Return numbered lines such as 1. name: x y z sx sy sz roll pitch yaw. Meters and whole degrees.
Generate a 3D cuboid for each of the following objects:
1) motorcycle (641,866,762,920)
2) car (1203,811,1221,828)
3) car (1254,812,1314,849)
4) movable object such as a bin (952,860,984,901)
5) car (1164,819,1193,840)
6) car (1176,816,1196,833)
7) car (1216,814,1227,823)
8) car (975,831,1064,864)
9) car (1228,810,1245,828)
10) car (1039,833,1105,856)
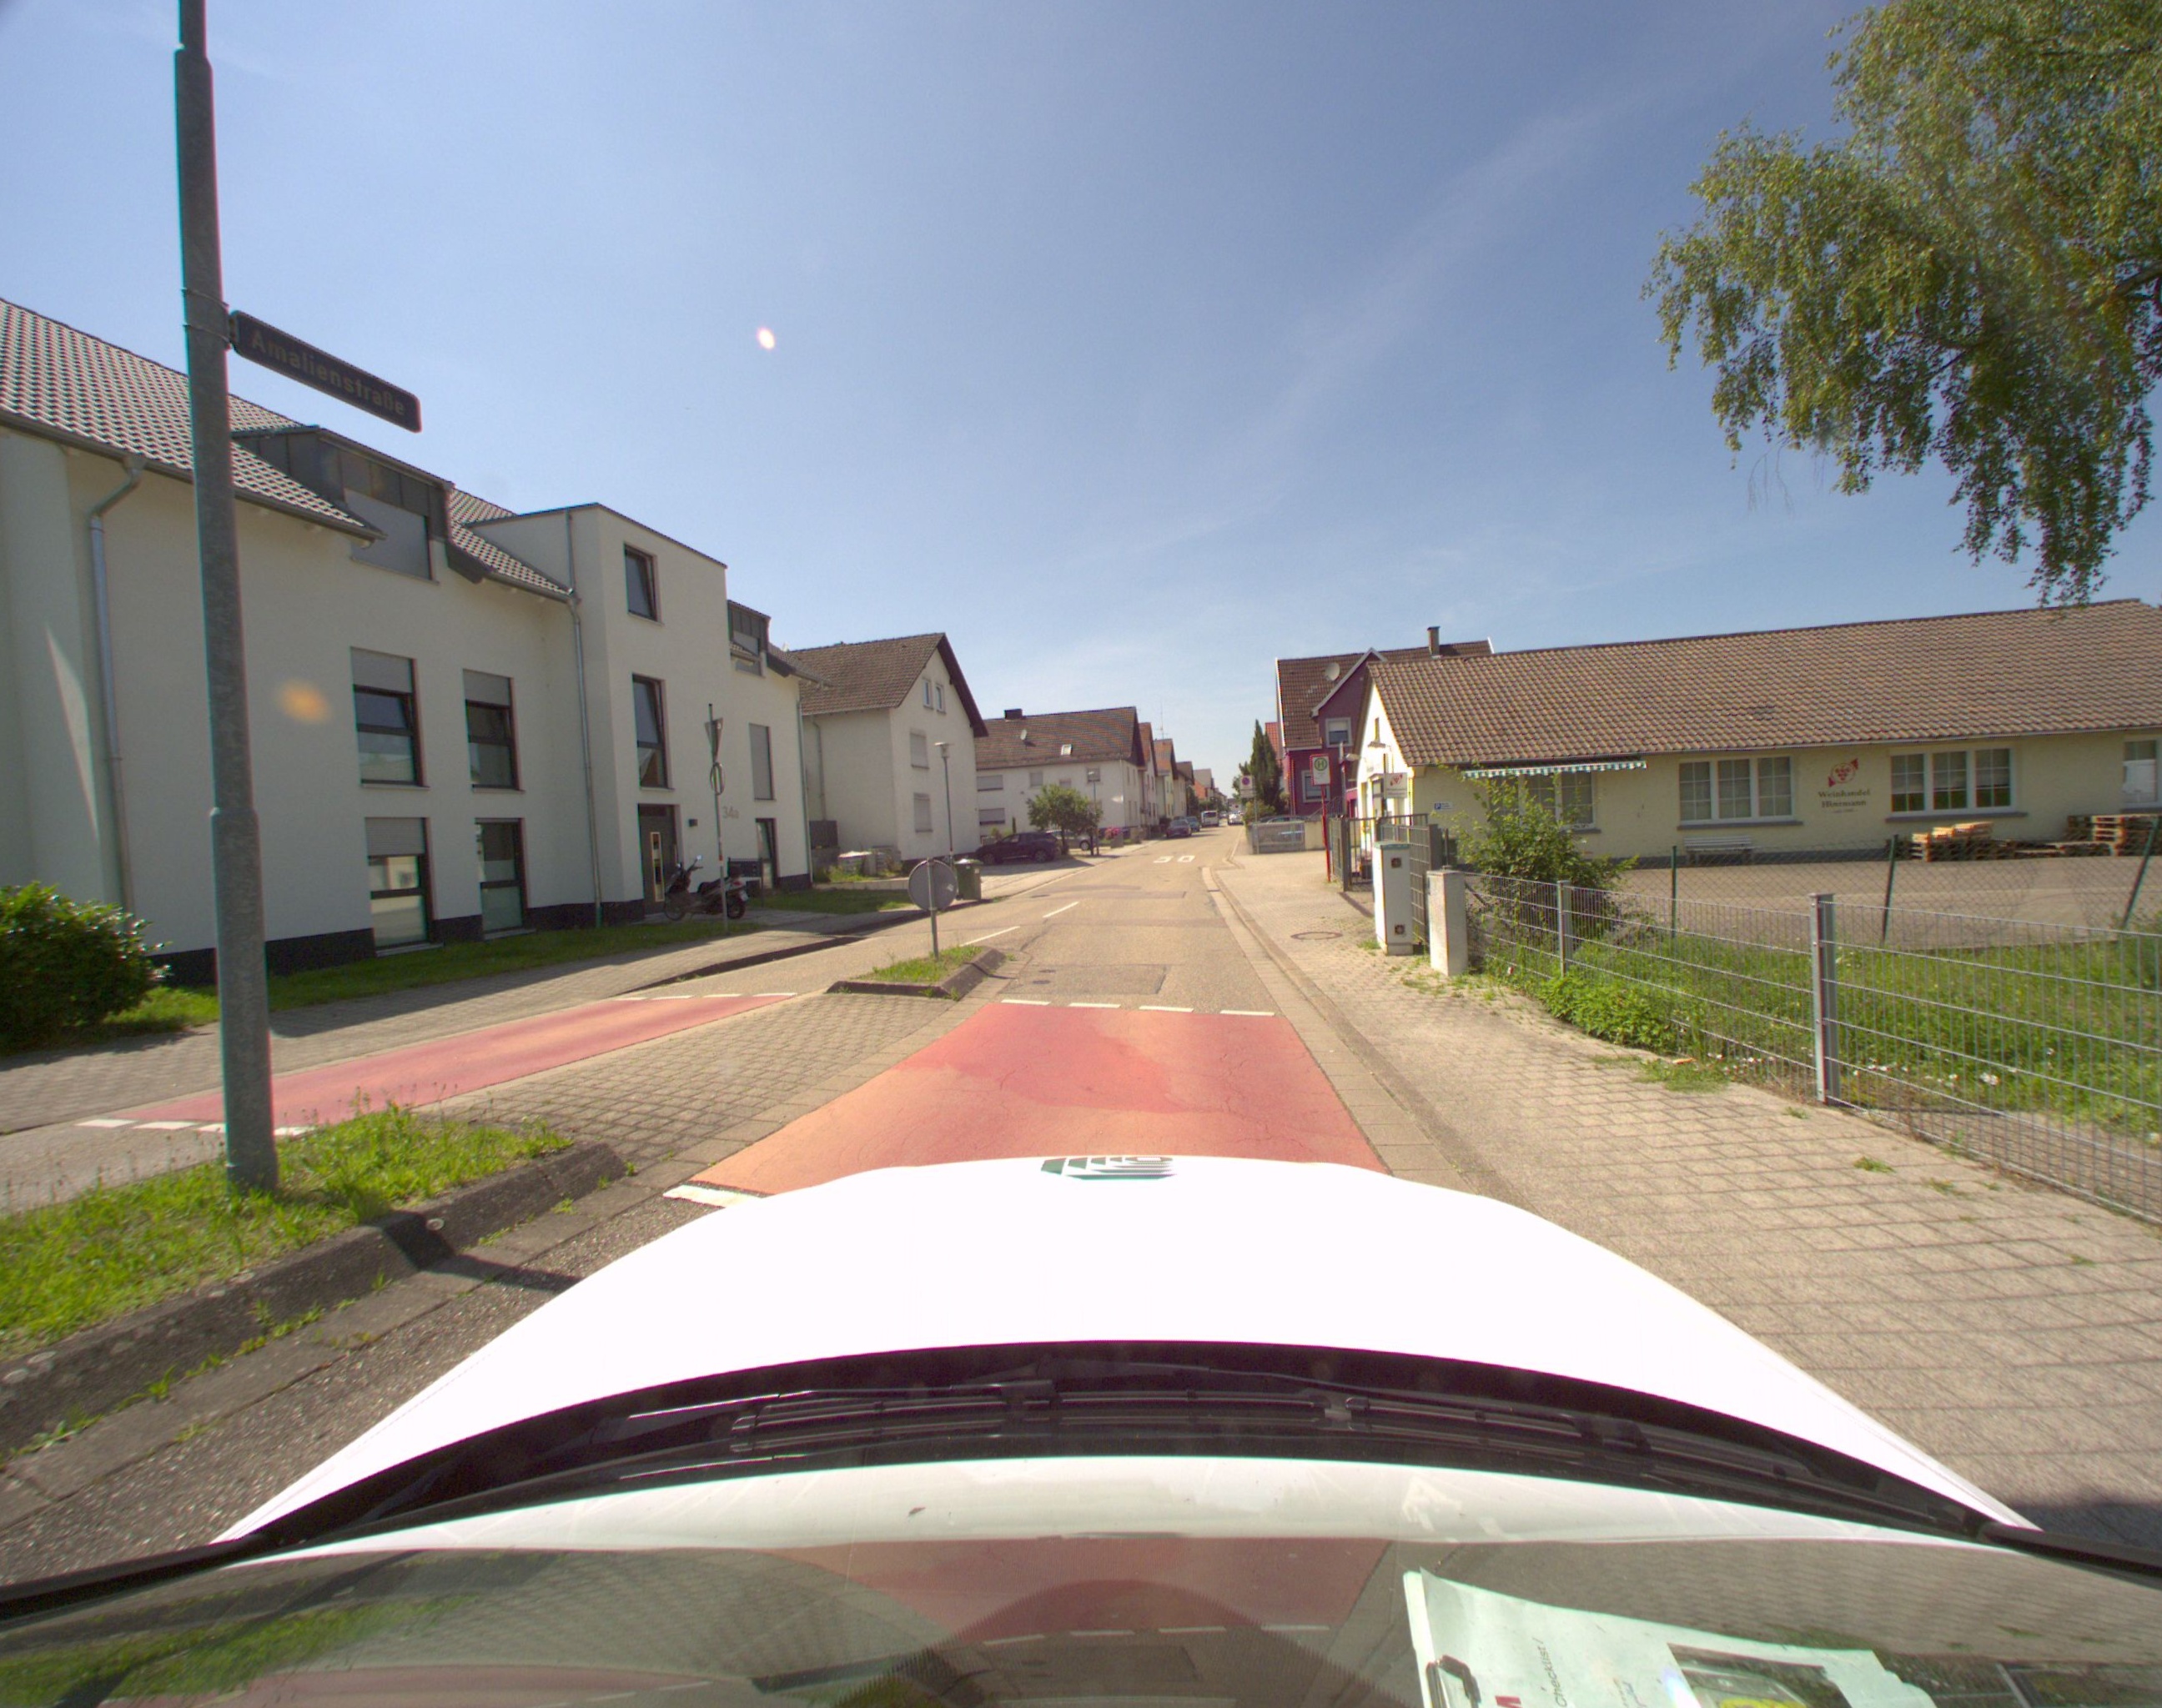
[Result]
1. motorcycle: -7.921 0.818 16.987 2.344 1.013 0.674 -3 0 14
2. car: 15.544 -4.079 96.711 1.839 1.787 4.013 -3 0 12
3. car: 9.843 -1.142 39.577 2.726 1.597 1.175 -3 0 10
4. movable object such as a bin: -3.057 0.715 22.045 0.640 1.083 0.461 -2 1 19
5. car: 8.172 -2.054 68.020 1.980 1.553 4.015 -2 2 12
6. car: 10.602 -2.991 82.441 1.914 1.604 4.007 -3 1 6
7. car: 30.500 -7.743 176.581 1.940 1.813 4.016 -2 1 14
8. car: -2.989 -0.331 39.832 3.964 1.383 1.665 -3 1 8
9. car: 19.282 -4.353 101.155 1.939 2.072 4.013 -3 0 11
10. car: -0.551 -0.623 52.600 3.964 1.190 1.845 -3 2 8
